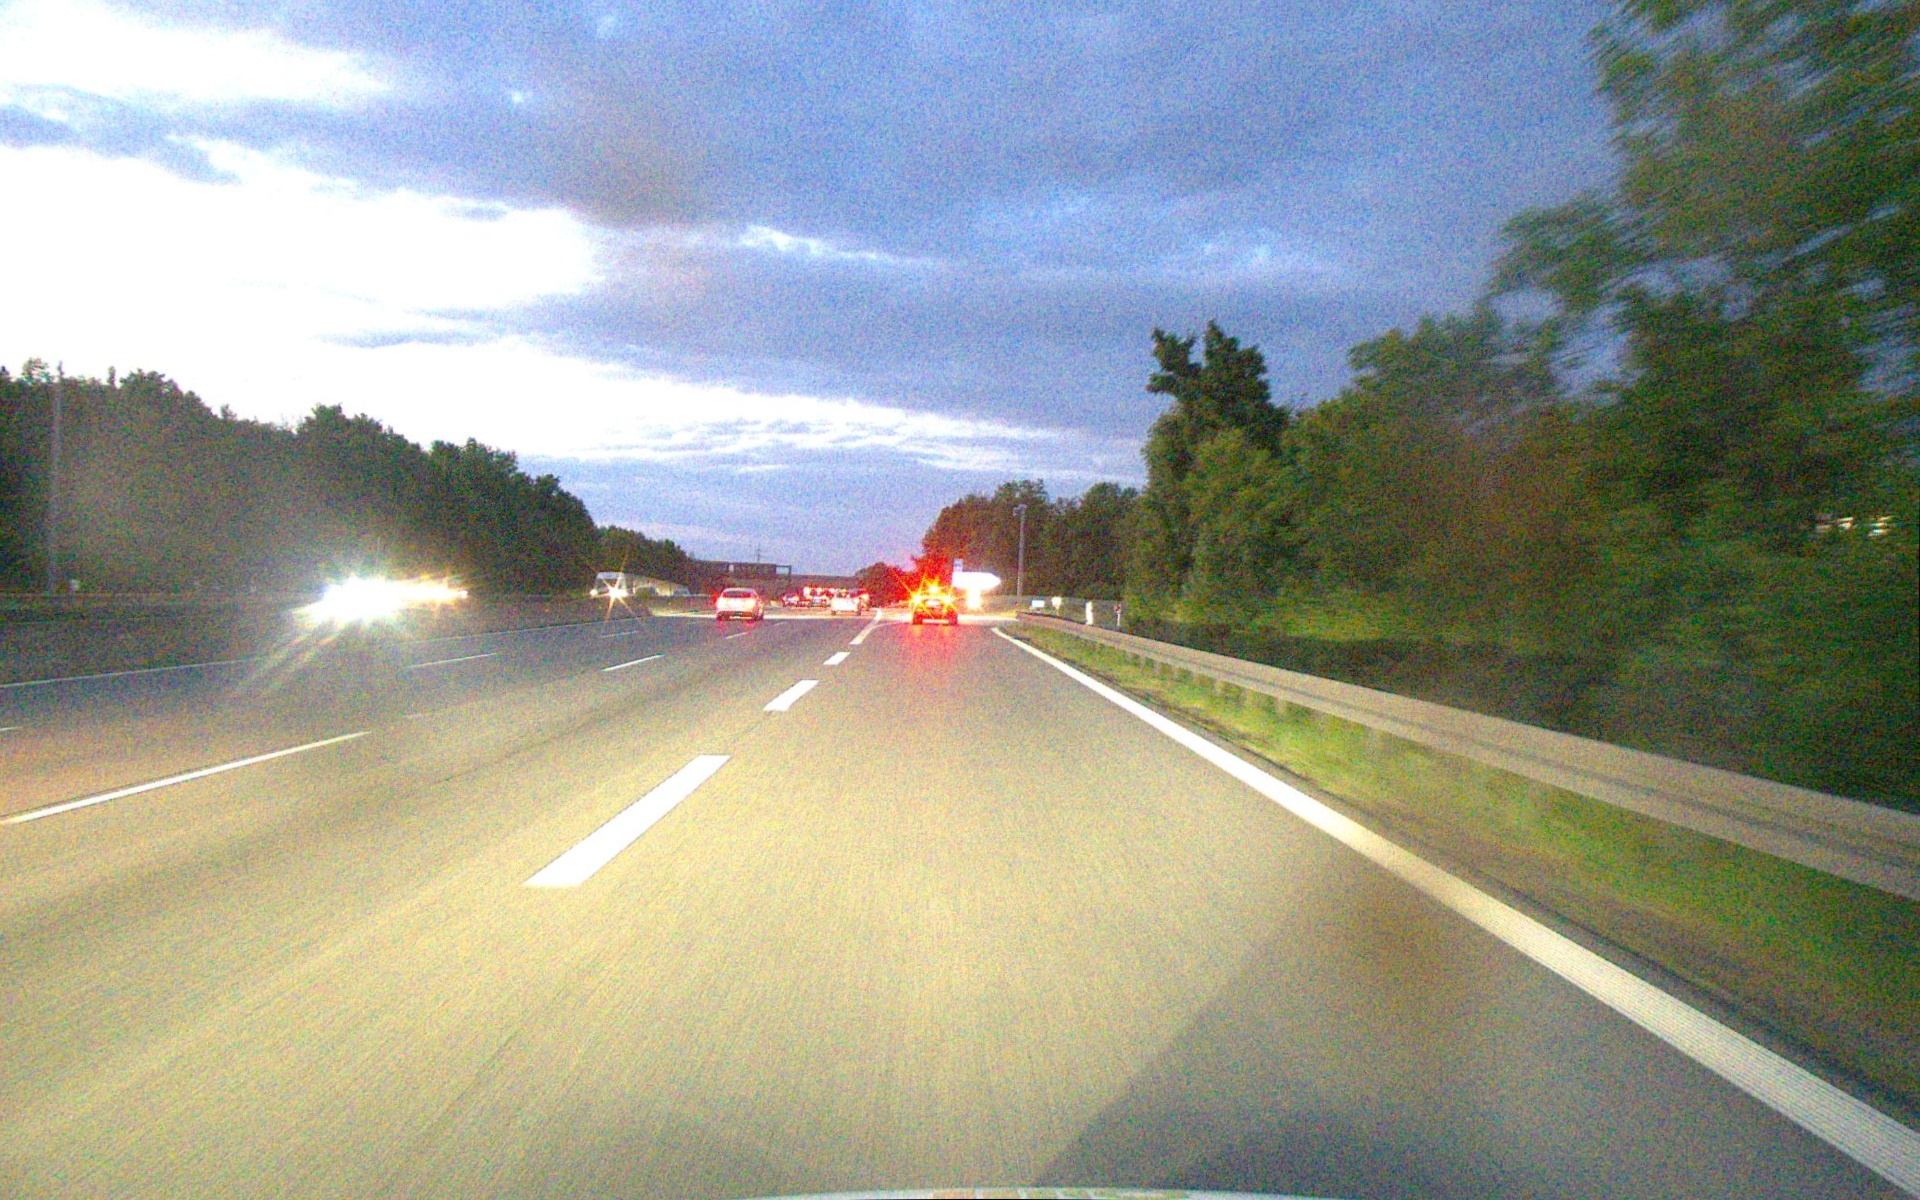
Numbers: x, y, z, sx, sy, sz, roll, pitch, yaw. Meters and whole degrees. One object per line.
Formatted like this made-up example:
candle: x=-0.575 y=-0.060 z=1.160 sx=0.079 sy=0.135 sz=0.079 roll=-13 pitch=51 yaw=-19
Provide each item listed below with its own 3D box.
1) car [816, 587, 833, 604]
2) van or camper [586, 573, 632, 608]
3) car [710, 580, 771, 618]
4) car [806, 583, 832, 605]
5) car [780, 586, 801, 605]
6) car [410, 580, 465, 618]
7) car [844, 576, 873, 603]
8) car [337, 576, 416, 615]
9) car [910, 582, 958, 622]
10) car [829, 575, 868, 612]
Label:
car: x=-16.178 y=-0.543 z=197.412 sx=1.955 sy=2.049 sz=3.995 roll=1 pitch=0 yaw=-6
van or camper: x=-28.095 y=-0.751 z=132.491 sx=2.466 sy=2.640 sz=6.486 roll=1 pitch=0 yaw=-2
car: x=-9.850 y=-0.065 z=74.589 sx=1.952 sy=1.671 sz=4.556 roll=0 pitch=0 yaw=3
car: x=-13.093 y=-0.586 z=153.389 sx=2.028 sy=2.049 sz=4.000 roll=0 pitch=0 yaw=0
car: x=-18.438 y=-0.511 z=179.878 sx=2.063 sy=2.049 sz=3.997 roll=-1 pitch=0 yaw=-4
car: x=-29.597 y=-0.069 z=93.777 sx=1.987 sy=2.049 sz=4.236 roll=1 pitch=0 yaw=-3
car: x=-7.644 y=-0.812 z=125.254 sx=1.953 sy=2.049 sz=4.000 roll=0 pitch=1 yaw=0
car: x=-24.575 y=-0.201 z=69.796 sx=1.953 sy=1.573 sz=3.999 roll=1 pitch=0 yaw=-1
car: x=-1.104 y=0.062 z=72.273 sx=1.952 sy=1.688 sz=4.315 roll=1 pitch=0 yaw=0
car: x=-6.406 y=-0.365 z=95.199 sx=1.953 sy=2.049 sz=4.000 roll=1 pitch=0 yaw=-1
